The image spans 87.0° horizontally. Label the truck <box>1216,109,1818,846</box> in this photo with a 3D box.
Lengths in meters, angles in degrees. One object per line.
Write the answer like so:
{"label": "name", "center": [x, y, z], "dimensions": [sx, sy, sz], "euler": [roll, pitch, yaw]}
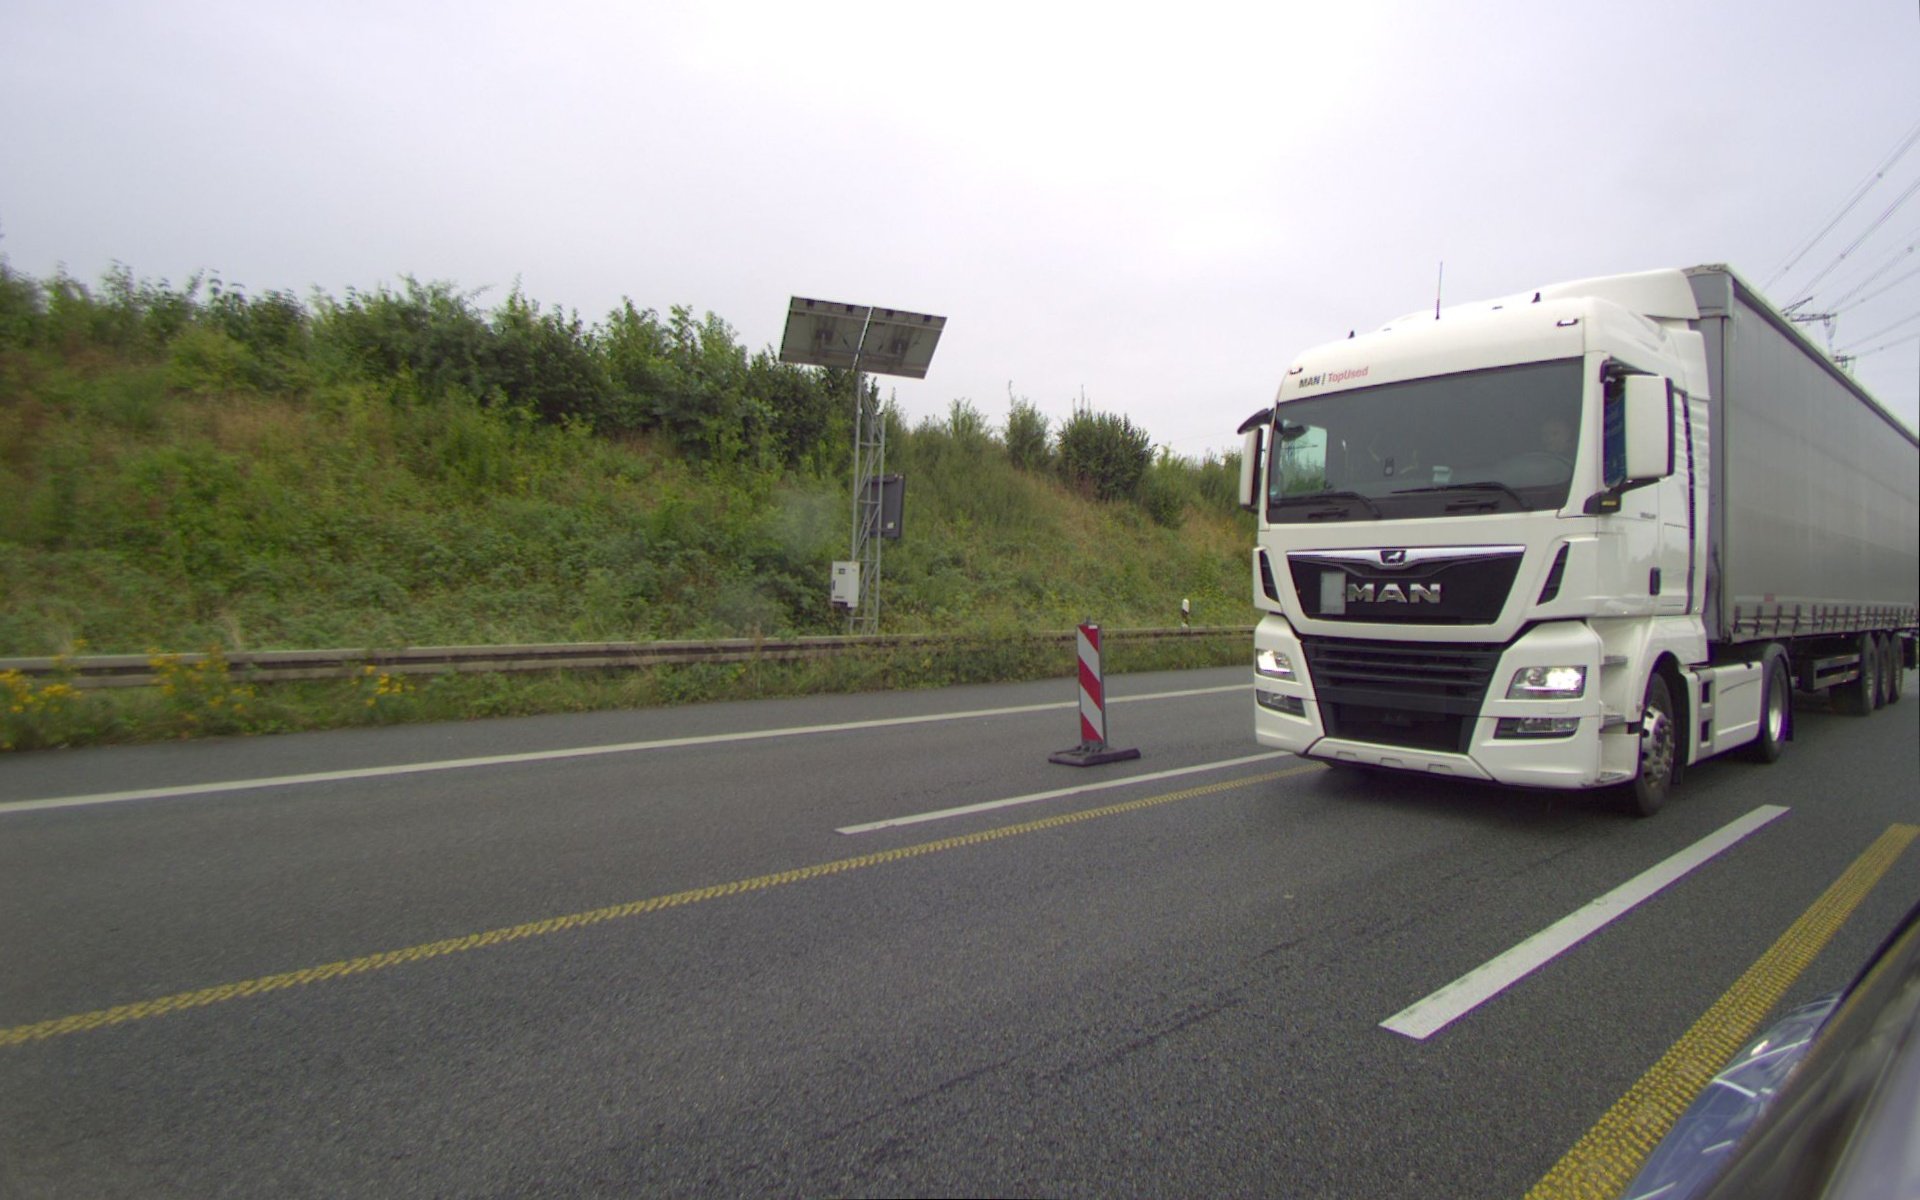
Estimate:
{"label": "truck", "center": [4.986, -0.723, 8.627], "dimensions": [5.591, 4.190, 2.711], "euler": [0, 1, -41]}

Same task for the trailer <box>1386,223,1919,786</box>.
{"label": "trailer", "center": [10.034, -0.744, 13.009], "dimensions": [13.491, 4.198, 2.711], "euler": [0, 1, -41]}
